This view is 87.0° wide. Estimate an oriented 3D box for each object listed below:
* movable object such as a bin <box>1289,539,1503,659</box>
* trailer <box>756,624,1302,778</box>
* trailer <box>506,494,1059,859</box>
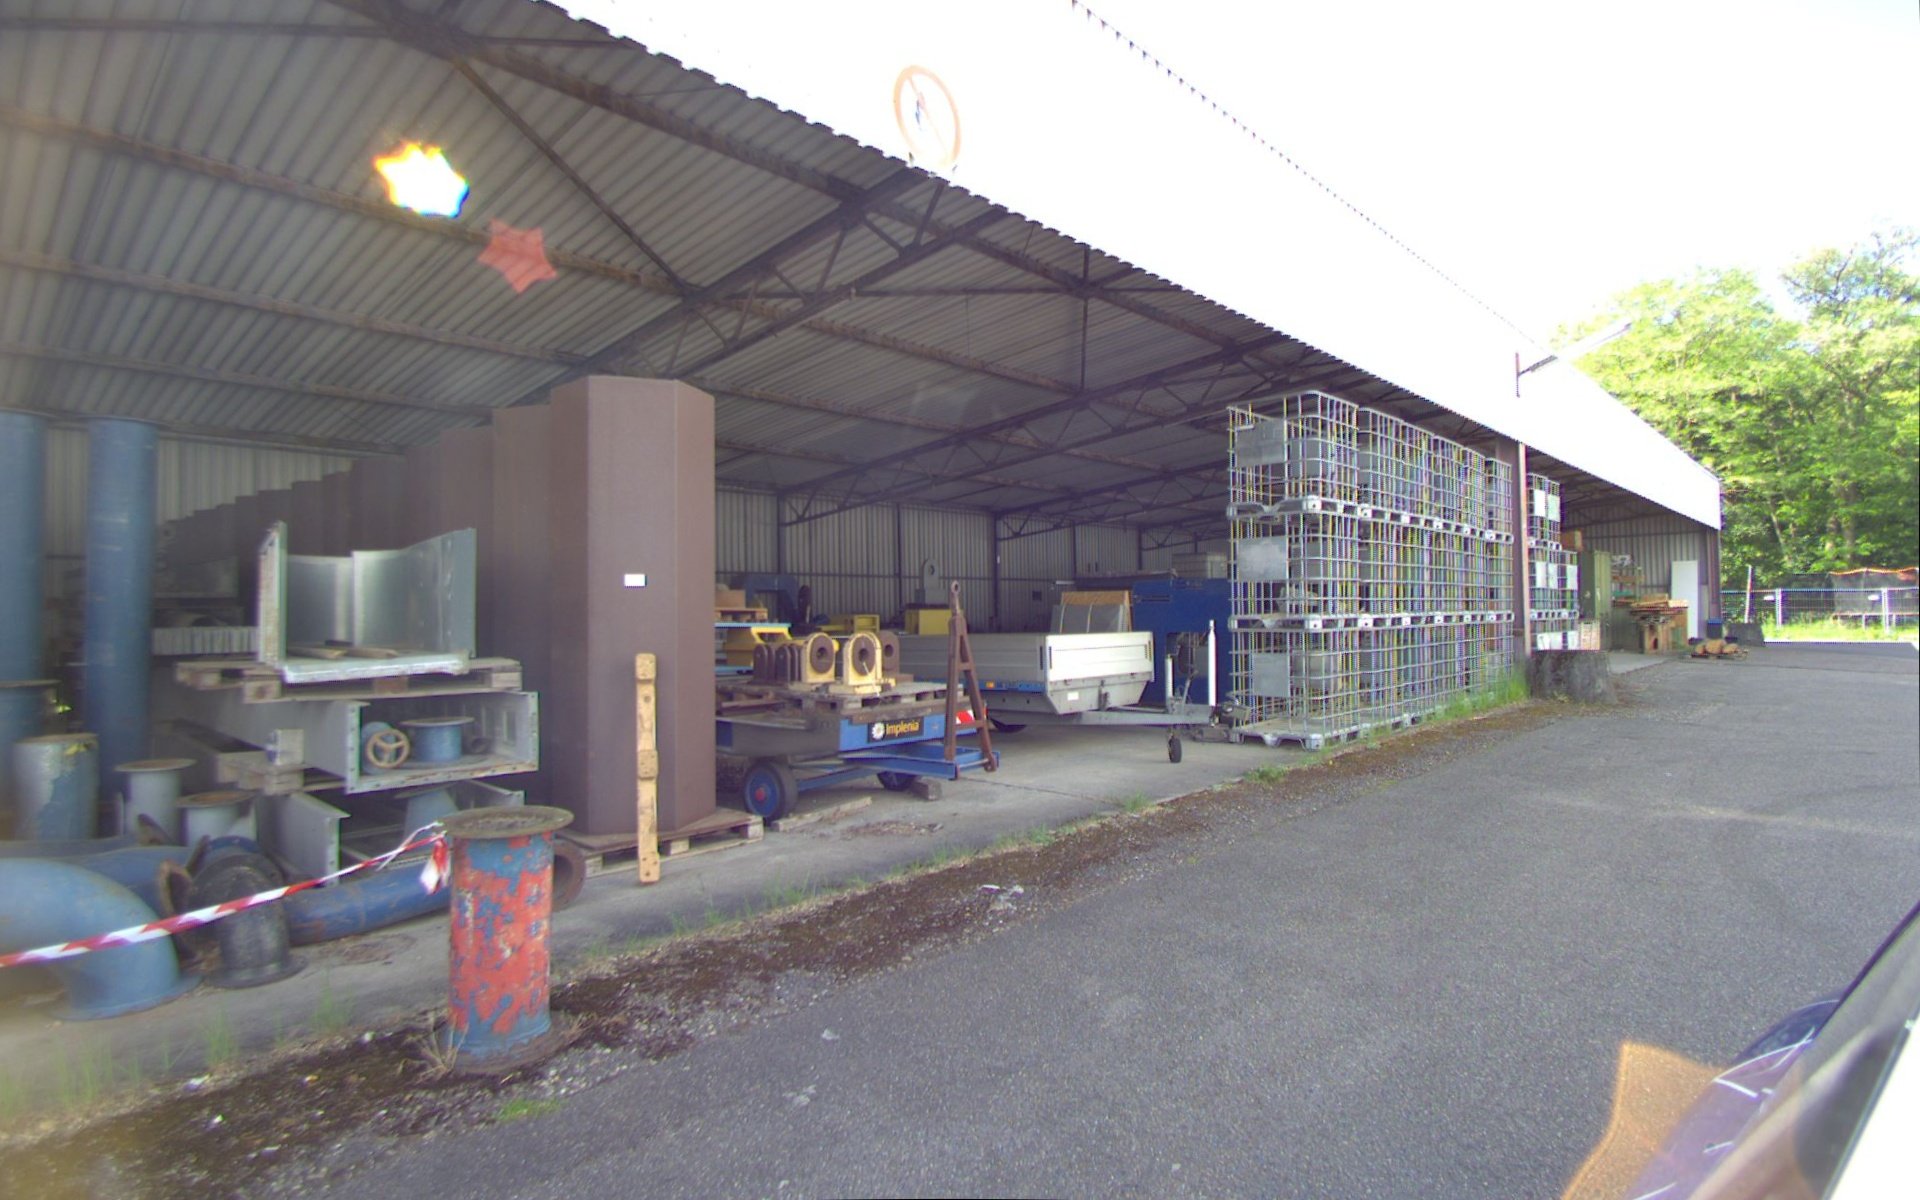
[{"bbox_3d":[10.910,-0.007,25.506,4.611,2.757,1.970,0,-1,42],"label":"movable object such as a bin"},{"bbox_3d":[0.400,0.855,10.586,5.729,1.147,1.978,-1,-1,42],"label":"trailer"},{"bbox_3d":[-1.702,0.409,8.061,2.013,2.022,4.821,0,0,-44],"label":"trailer"}]
